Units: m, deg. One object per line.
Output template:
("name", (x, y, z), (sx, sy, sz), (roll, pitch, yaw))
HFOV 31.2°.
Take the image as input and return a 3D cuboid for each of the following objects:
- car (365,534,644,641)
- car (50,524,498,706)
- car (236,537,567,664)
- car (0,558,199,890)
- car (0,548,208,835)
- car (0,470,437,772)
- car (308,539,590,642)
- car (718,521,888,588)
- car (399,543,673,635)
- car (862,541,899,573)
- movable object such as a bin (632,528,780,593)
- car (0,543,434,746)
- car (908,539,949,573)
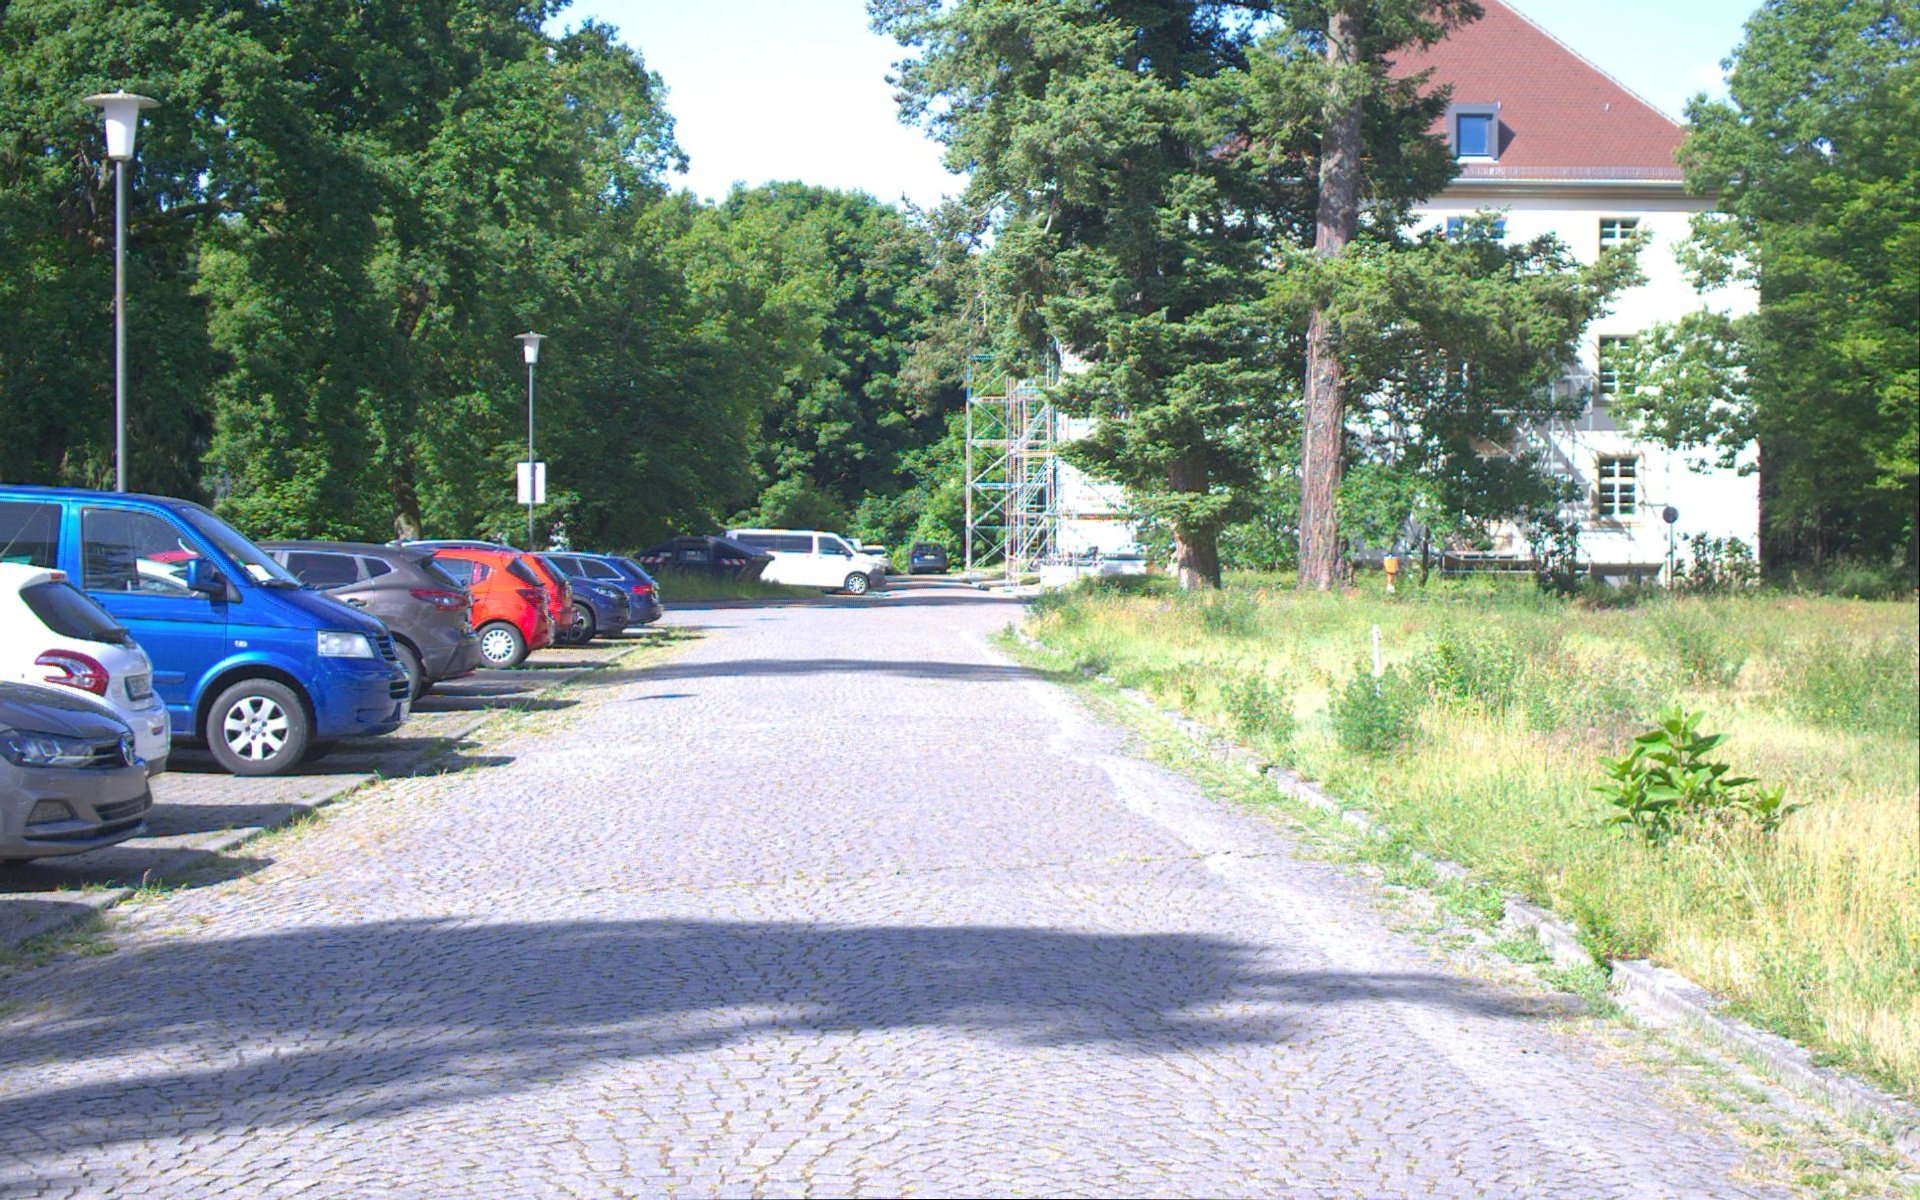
("car", (-7.087, -0.211, 53.794), (4.135, 1.574, 1.884), (1, 1, -1))
("car", (-6.554, 0.118, 33.192), (3.953, 1.562, 1.974), (2, 2, -3))
("car", (-7.025, -0.010, 43.511), (3.923, 1.456, 1.842), (1, 1, -3))
("car", (-5.823, 0.491, 16.092), (4.076, 1.420, 1.923), (2, 1, 0))
("car", (-6.447, 0.427, 18.960), (4.196, 1.470, 1.824), (2, 1, -2))
("car", (-6.210, 0.096, 24.249), (4.717, 1.961, 2.006), (2, 1, -2))
("car", (-7.600, -0.153, 51.386), (3.923, 1.428, 1.842), (1, 1, 0))
("car", (-4.887, -1.415, 107.413), (5.234, 2.009, 1.950), (1, 1, -2))
("car", (-7.175, -0.205, 58.477), (4.360, 1.440, 1.921), (1, 1, 1))
("car", (-4.005, -2.173, 173.463), (1.812, 1.574, 4.135), (0, 1, -2))
("movable object such as a bin", (-6.957, -1.087, 94.270), (3.568, 1.738, 2.023), (0, 1, 17))
("car", (-6.120, 0.322, 26.868), (3.815, 1.435, 1.683), (2, 1, -4))
("car", (-1.609, -2.228, 173.815), (1.971, 1.662, 4.086), (0, 1, -2))
